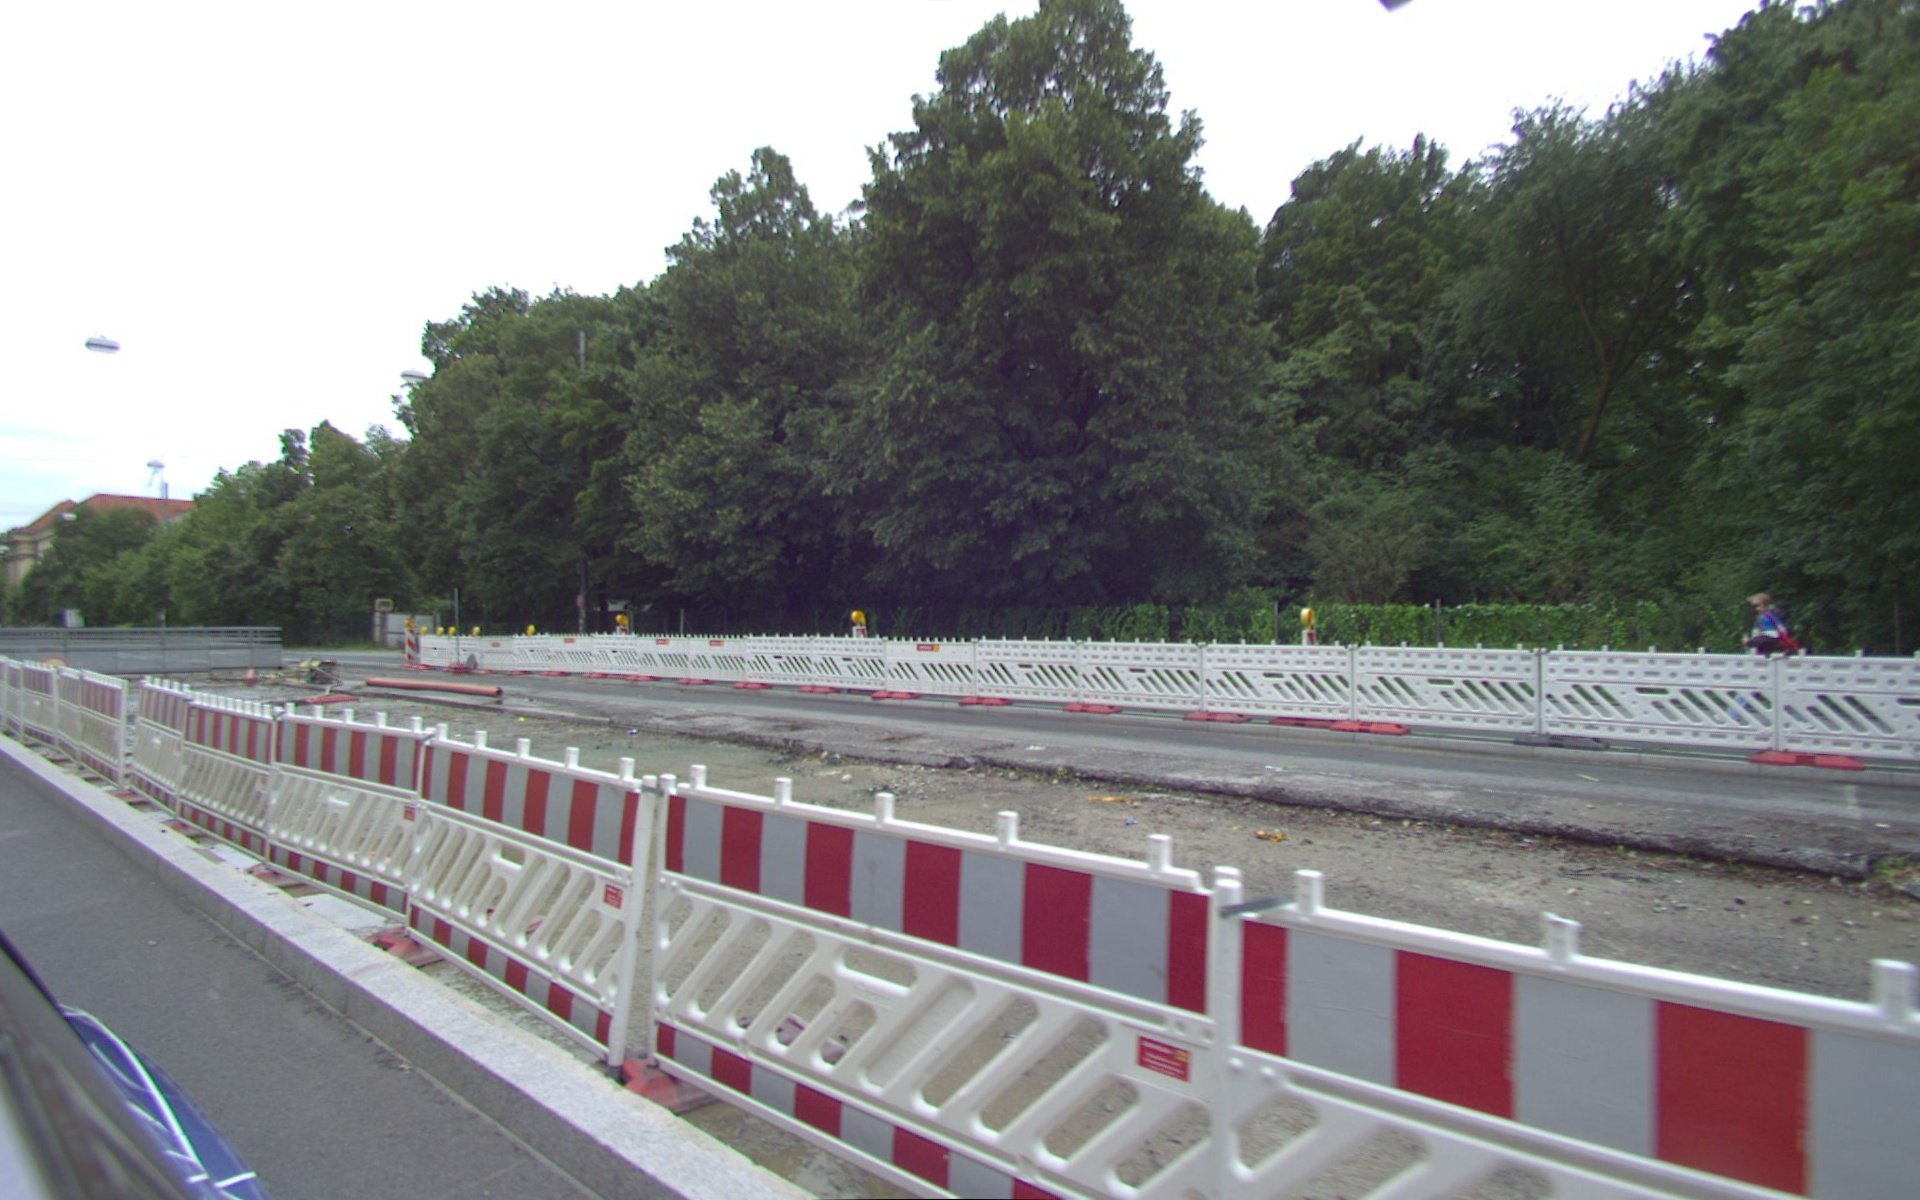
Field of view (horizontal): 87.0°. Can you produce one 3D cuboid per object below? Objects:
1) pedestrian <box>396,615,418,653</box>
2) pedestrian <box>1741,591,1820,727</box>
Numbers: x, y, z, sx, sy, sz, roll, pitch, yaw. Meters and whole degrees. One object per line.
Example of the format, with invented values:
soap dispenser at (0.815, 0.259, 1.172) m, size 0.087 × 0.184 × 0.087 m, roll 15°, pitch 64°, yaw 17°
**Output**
pedestrian at (-24.324, 1.505, 44.551) m, size 0.698 × 1.653 × 0.656 m, roll -2°, pitch -2°, yaw 41°
pedestrian at (10.142, 0.710, 12.513) m, size 0.698 × 1.615 × 0.656 m, roll -2°, pitch -2°, yaw 41°
